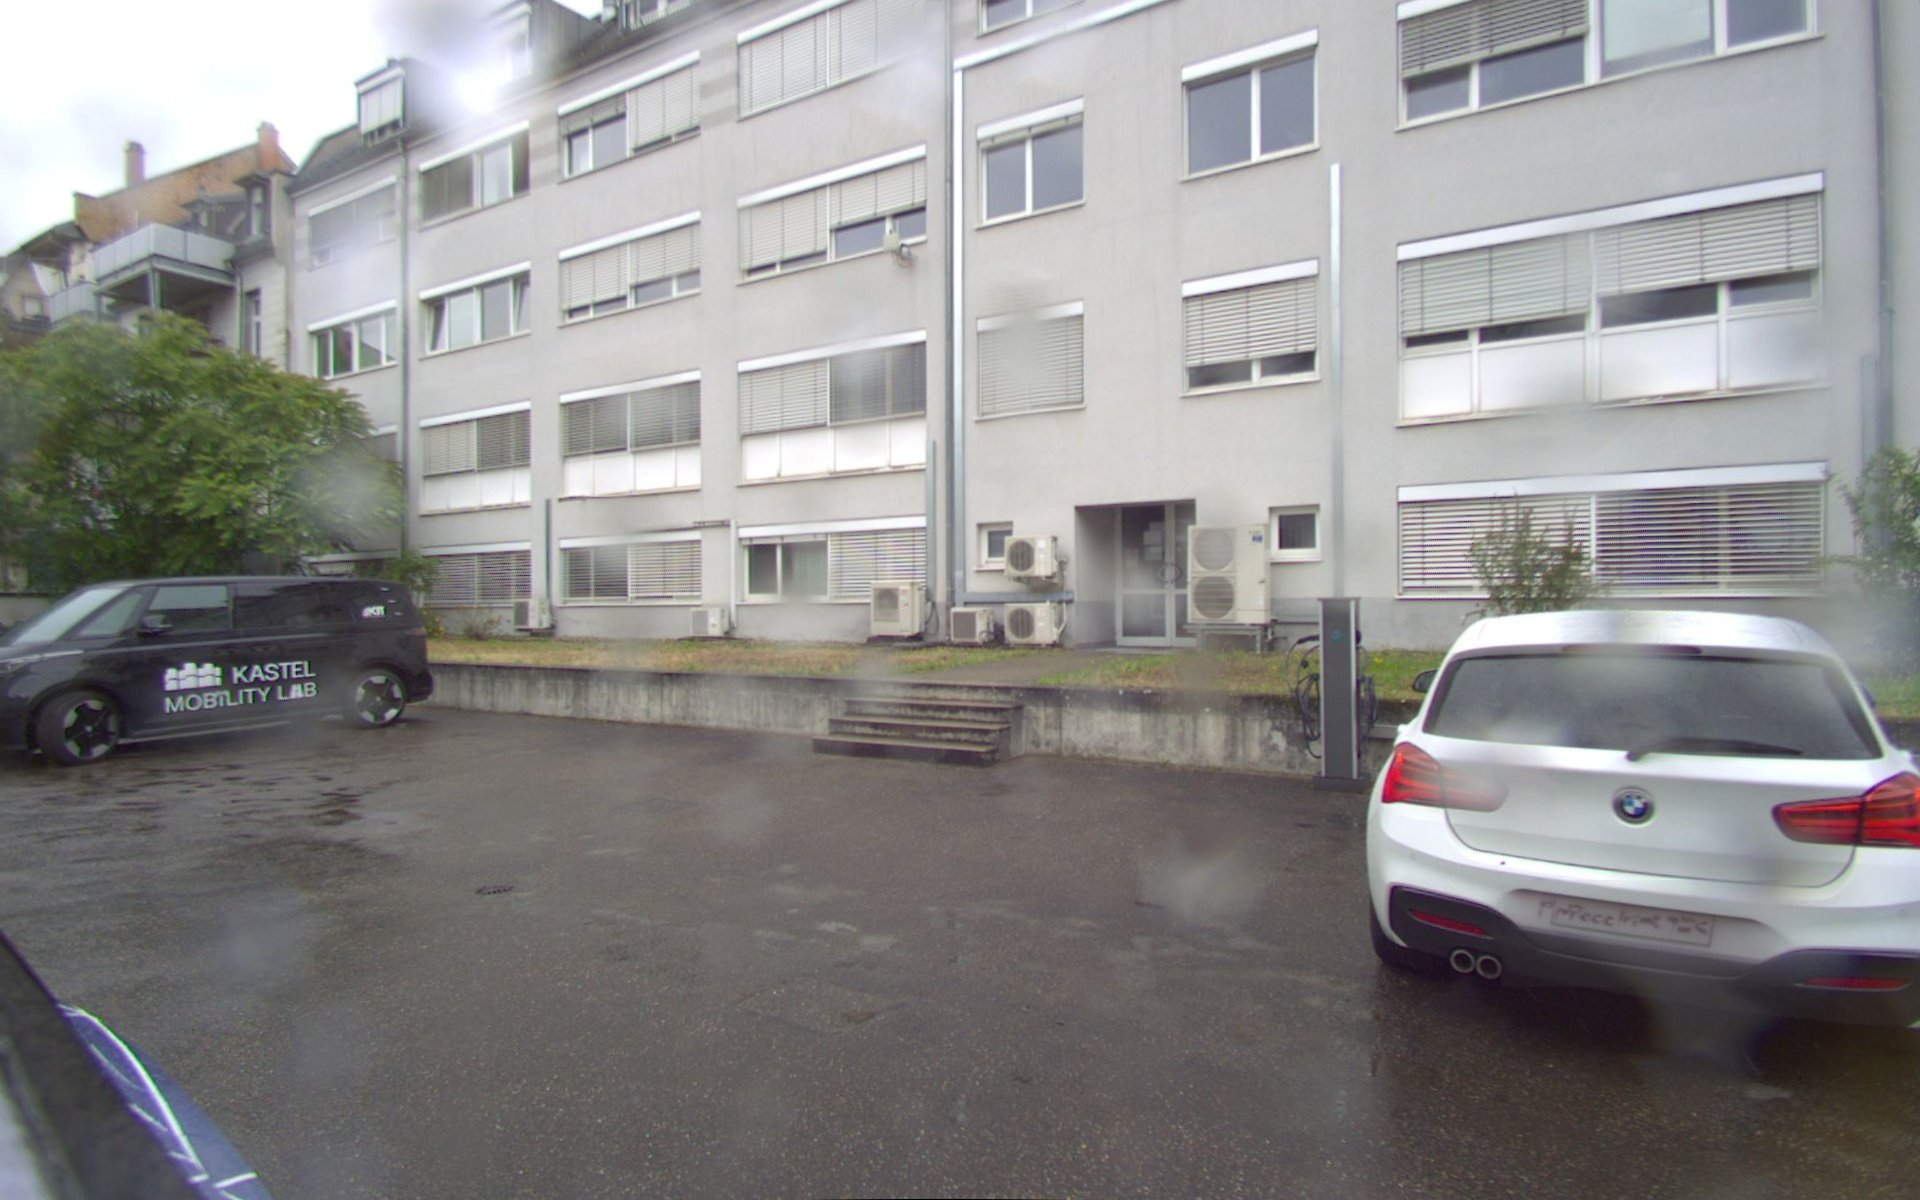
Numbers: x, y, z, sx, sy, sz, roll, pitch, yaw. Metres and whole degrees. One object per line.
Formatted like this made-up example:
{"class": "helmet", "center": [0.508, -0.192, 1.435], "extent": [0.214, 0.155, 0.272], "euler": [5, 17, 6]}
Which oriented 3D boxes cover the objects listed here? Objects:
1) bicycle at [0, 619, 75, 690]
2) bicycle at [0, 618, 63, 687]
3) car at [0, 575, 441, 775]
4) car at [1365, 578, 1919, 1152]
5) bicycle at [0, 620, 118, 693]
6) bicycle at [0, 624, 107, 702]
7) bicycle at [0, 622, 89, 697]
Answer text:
{"class": "bicycle", "center": [-17.110, 0.969, 17.762], "extent": [0.642, 1.195, 2.291], "euler": [2, 1, 38]}
{"class": "bicycle", "center": [-17.638, 0.951, 18.111], "extent": [0.642, 1.195, 2.291], "euler": [2, 1, 38]}
{"class": "car", "center": [-8.739, 0.719, 11.655], "extent": [1.980, 1.850, 4.584], "euler": [-2, -1, 30]}
{"class": "car", "center": [3.140, 0.674, 4.534], "extent": [1.748, 1.444, 4.107], "euler": [0, 0, 32]}
{"class": "bicycle", "center": [-16.405, 0.983, 17.860], "extent": [0.642, 1.195, 2.291], "euler": [2, 1, 38]}
{"class": "bicycle", "center": [-15.534, 1.024, 16.592], "extent": [0.642, 1.195, 2.291], "euler": [2, 1, 38]}
{"class": "bicycle", "center": [-16.211, 1.002, 17.018], "extent": [0.642, 1.195, 2.291], "euler": [2, 1, 38]}
